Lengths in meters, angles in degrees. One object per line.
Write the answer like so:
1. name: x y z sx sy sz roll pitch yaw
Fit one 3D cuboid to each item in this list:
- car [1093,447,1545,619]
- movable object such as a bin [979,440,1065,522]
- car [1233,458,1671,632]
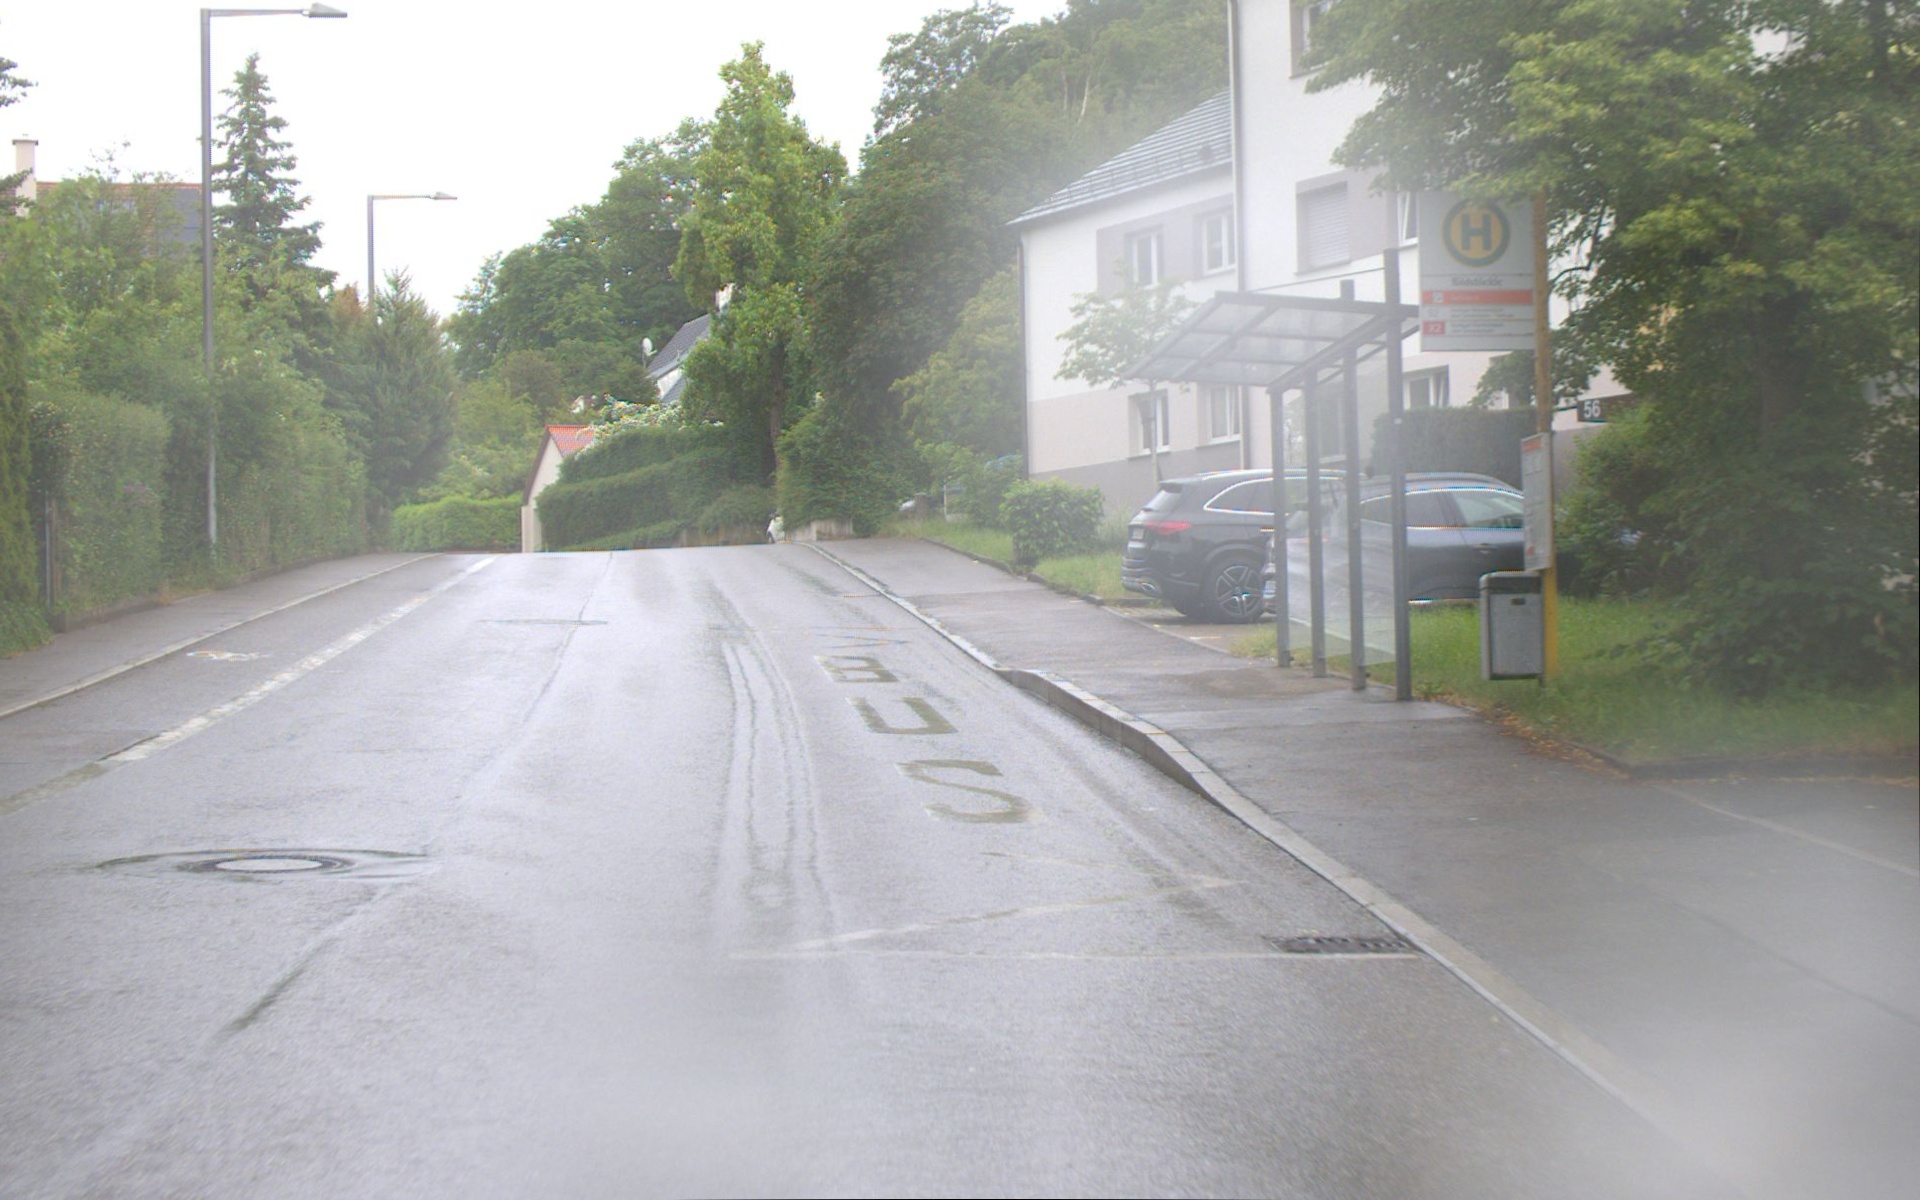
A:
1. car: 3.885 -0.763 37.493 4.524 1.654 1.857 -2 3 -11
2. movable object such as a bin: 1.176 -2.256 65.174 1.241 1.492 0.983 -4 3 -39
3. car: 4.588 -0.547 32.368 3.742 1.453 1.725 -2 3 -6
